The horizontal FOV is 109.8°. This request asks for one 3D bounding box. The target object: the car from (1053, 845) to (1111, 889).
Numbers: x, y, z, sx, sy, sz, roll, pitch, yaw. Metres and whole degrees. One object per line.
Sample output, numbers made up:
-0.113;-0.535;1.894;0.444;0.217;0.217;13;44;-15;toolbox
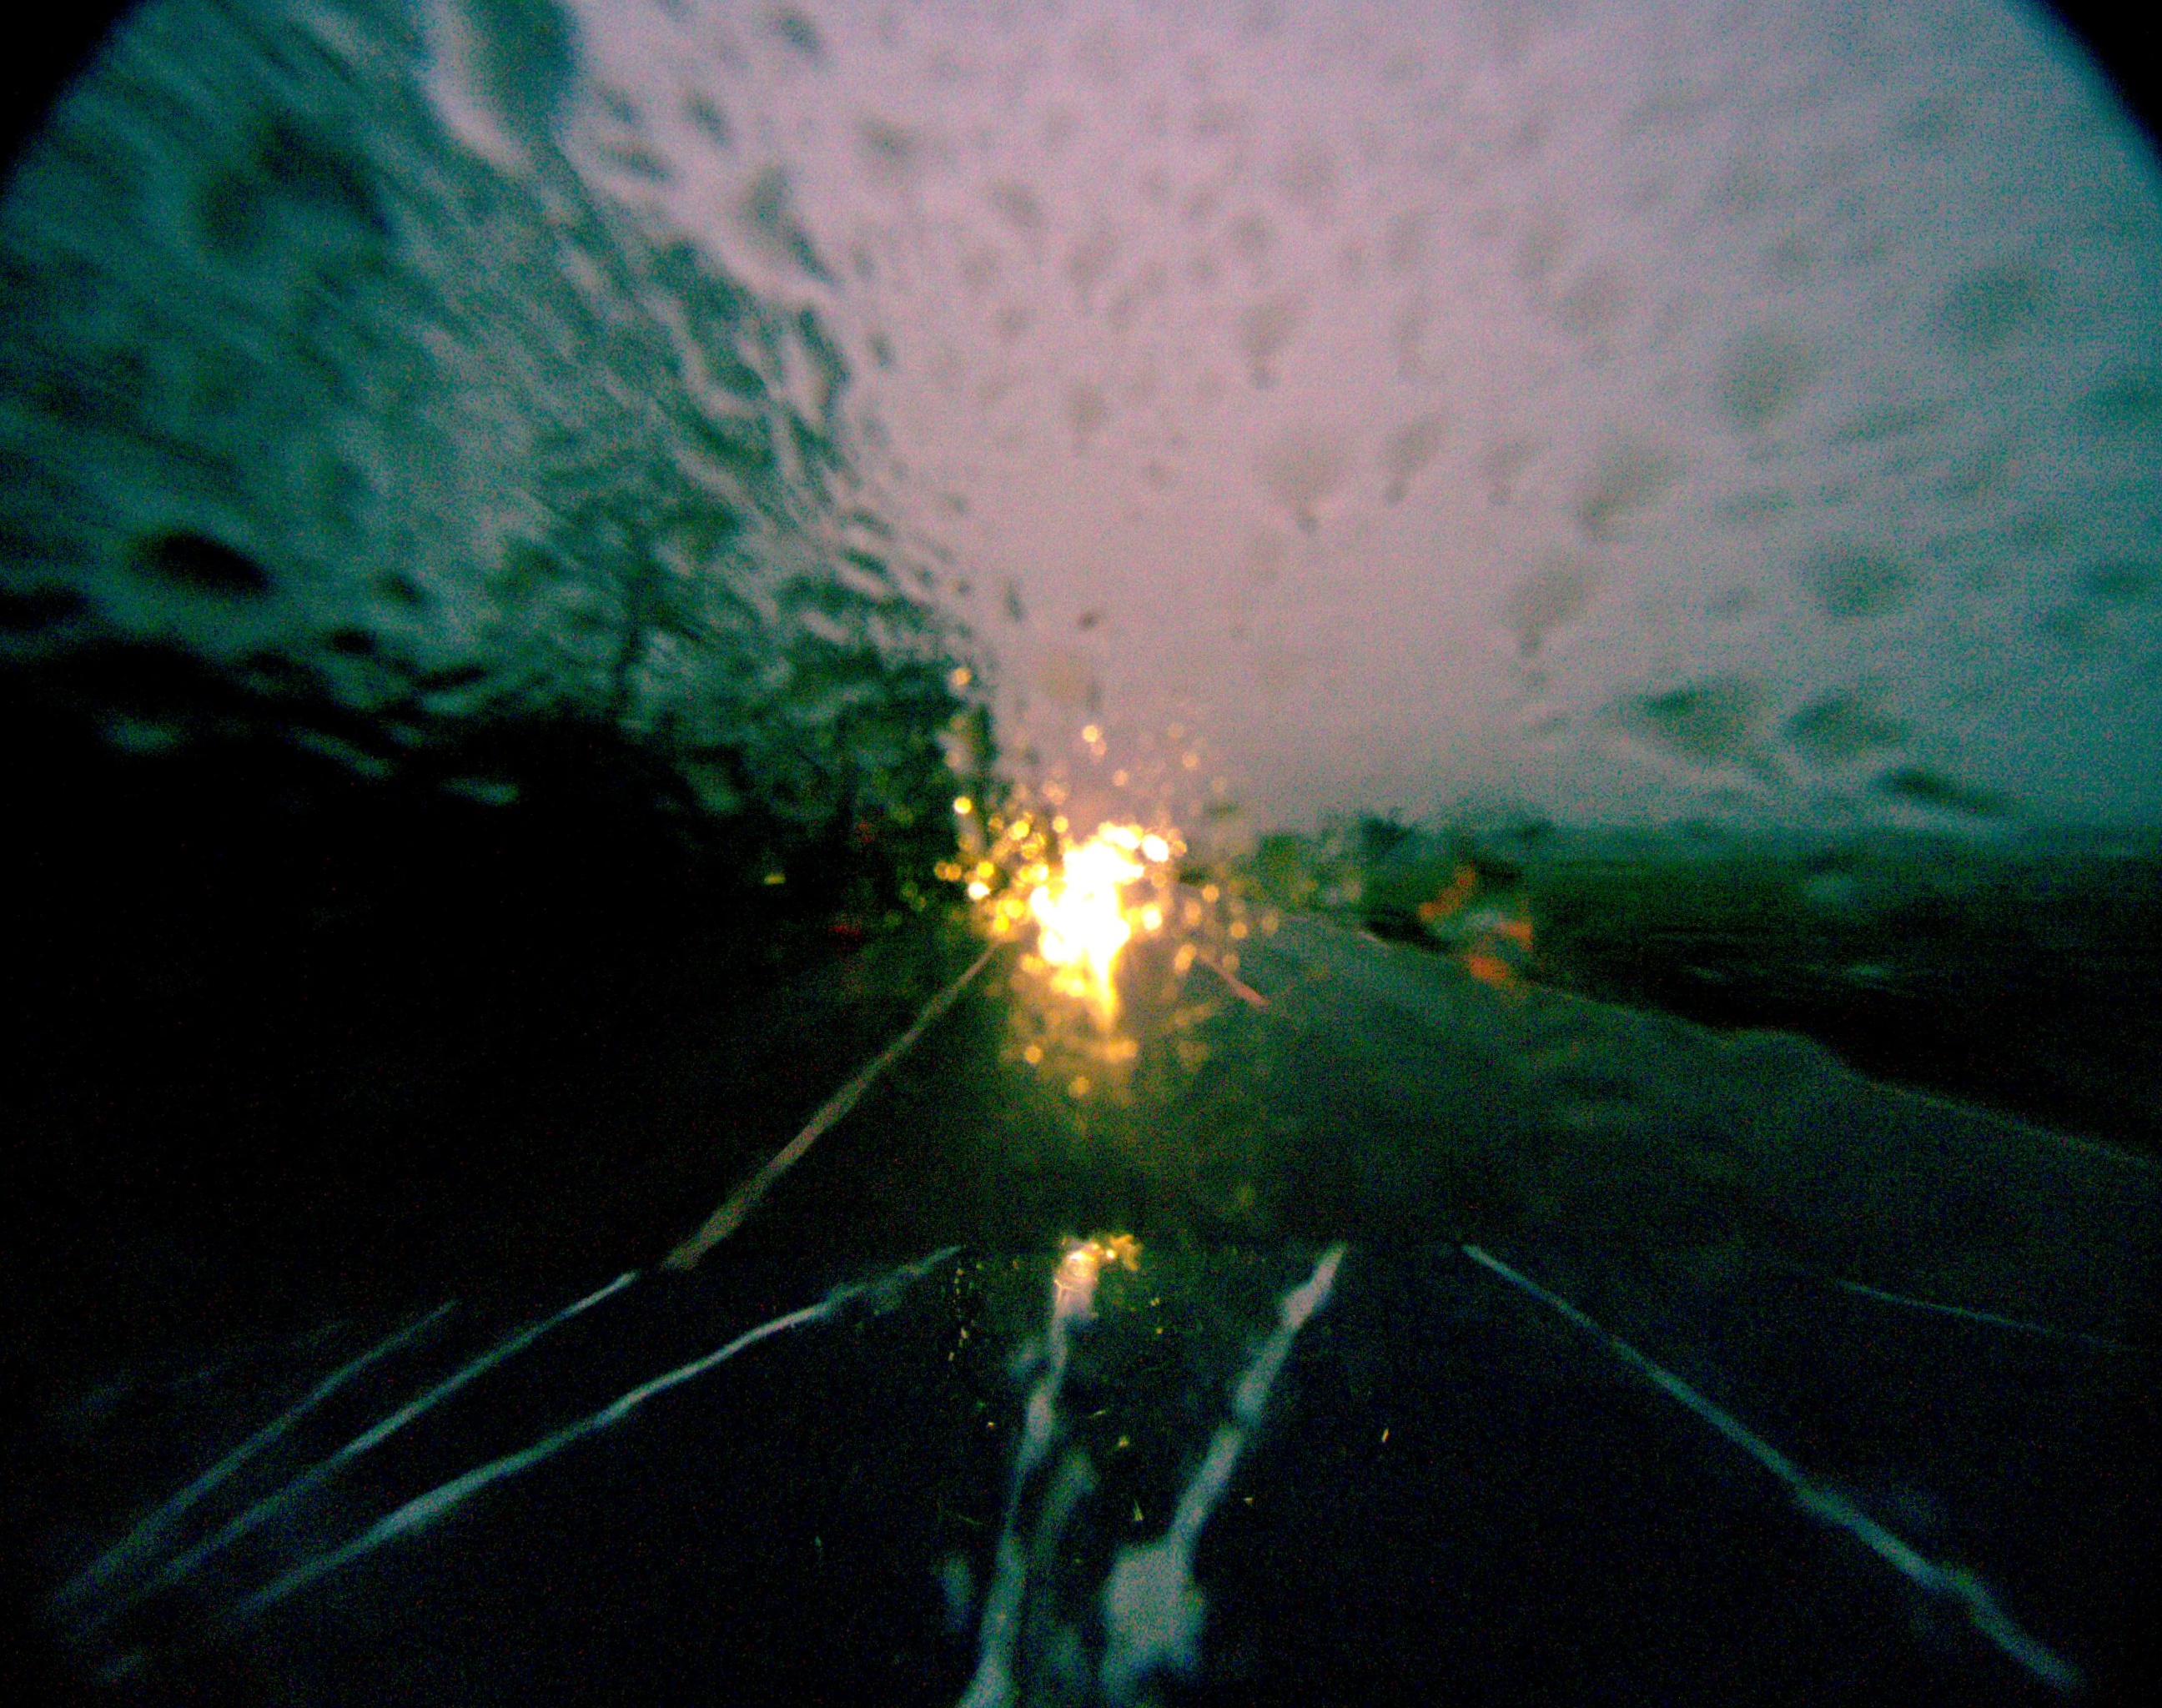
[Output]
0.126;0.584;39.004;2.704;1.974;5.804;-2;1;1;car
